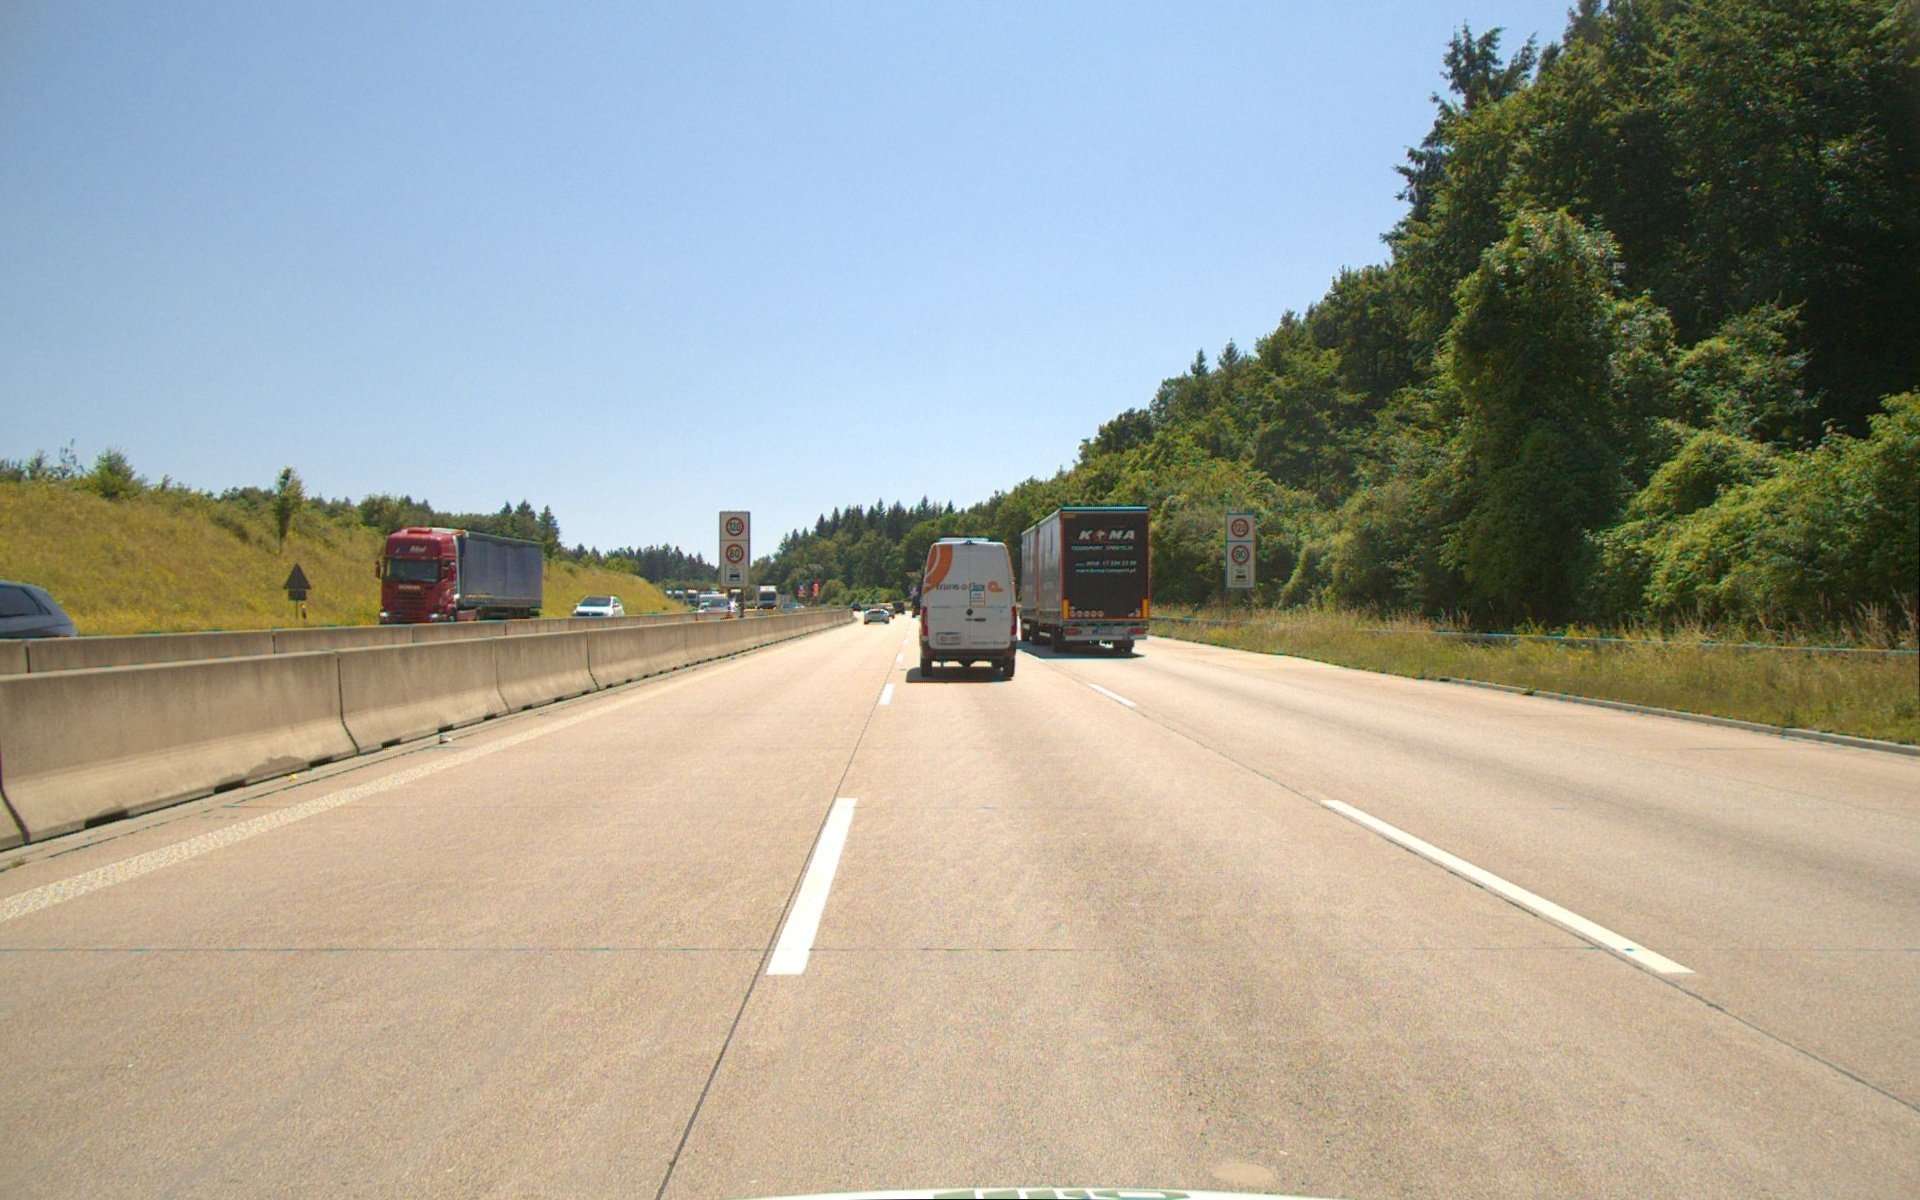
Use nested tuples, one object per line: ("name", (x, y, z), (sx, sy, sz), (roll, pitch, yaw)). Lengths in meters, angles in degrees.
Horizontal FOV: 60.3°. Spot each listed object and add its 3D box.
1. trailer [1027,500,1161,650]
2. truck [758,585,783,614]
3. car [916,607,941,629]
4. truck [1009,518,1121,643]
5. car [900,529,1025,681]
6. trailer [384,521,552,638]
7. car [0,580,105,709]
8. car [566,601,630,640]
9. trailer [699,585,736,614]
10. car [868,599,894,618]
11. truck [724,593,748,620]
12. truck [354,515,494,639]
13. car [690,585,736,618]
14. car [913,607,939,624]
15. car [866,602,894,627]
("trailer", (3.894, -0.675, 50.361), (3.071, 4.087, 9.085), (-1, 0, -1))
("truck", (-26.883, 0.006, 234.796), (3.098, 4.001, 5.832), (1, -1, -4))
("car", (-2.568, 1.423, 133.411), (1.953, 1.713, 3.999), (1, -1, -1))
("truck", (3.654, -0.635, 60.184), (3.096, 4.087, 10.604), (-1, 0, -1))
("car", (-0.049, 0.075, 34.742), (2.183, 2.894, 5.449), (-1, 0, -4))
("trailer", (-20.934, -0.716, 71.584), (3.318, 4.509, 13.919), (1, -1, -1))
("car", (-12.573, 0.525, 20.359), (1.953, 1.565, 4.195), (1, 0, -1))
("car", (-16.545, 0.905, 75.860), (1.953, 1.722, 4.814), (1, 0, -1))
("trailer", (-23.133, -0.045, 157.985), (2.553, 2.677, 7.779), (0, 0, -1))
("car", (-7.449, 0.798, 156.210), (1.957, 1.713, 3.990), (1, -1, -10))
("truck", (-29.621, 0.890, 218.544), (2.670, 3.473, 4.510), (1, -1, -2))
("truck", (-20.770, -0.809, 64.540), (3.318, 4.509, 6.798), (1, -1, -1))
("car", (-13.563, 0.085, 91.084), (1.953, 1.722, 4.370), (1, 0, -1))
("car", (-3.386, 1.538, 164.280), (1.957, 1.713, 3.991), (1, -1, -9))
("car", (-5.747, 1.039, 119.278), (1.954, 1.713, 3.997), (1, -1, -3))
